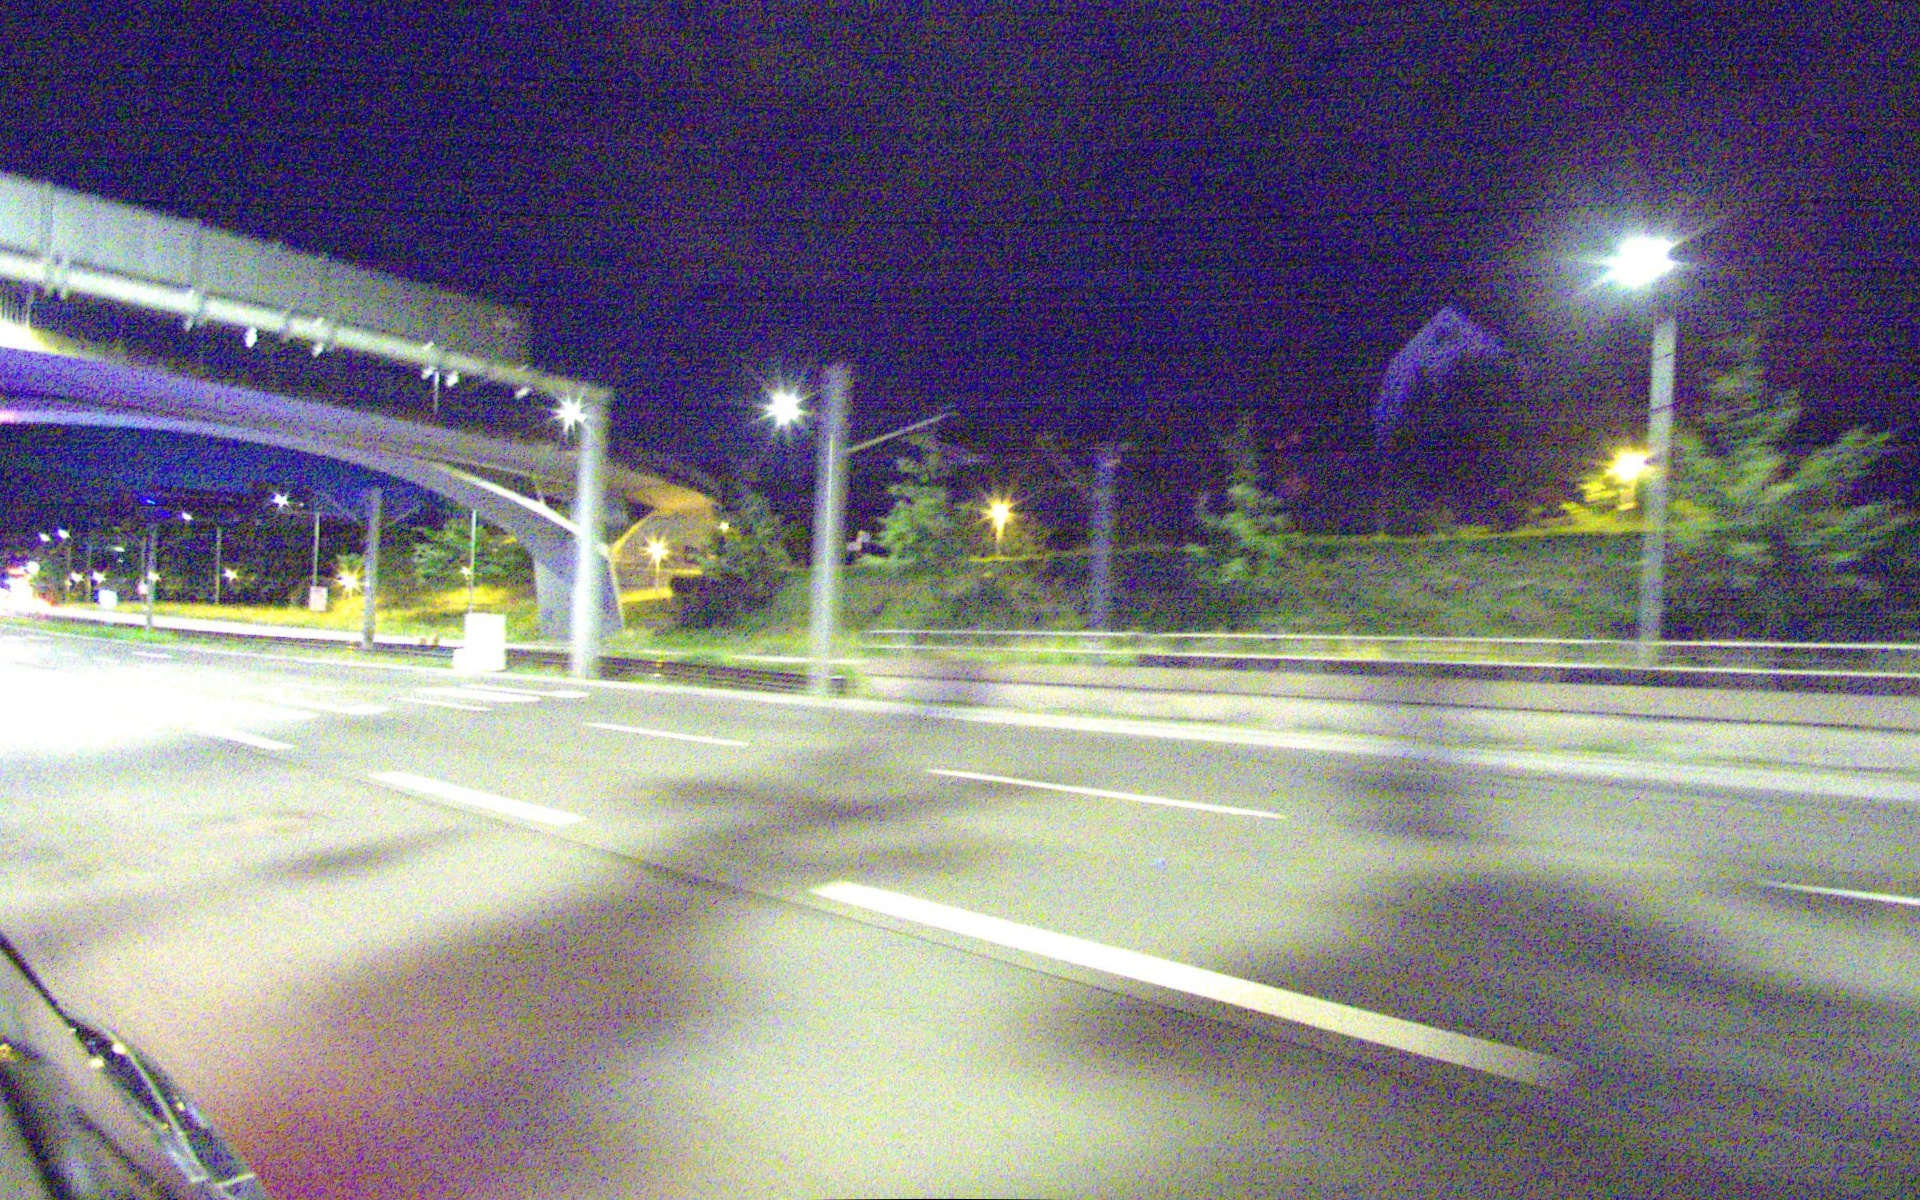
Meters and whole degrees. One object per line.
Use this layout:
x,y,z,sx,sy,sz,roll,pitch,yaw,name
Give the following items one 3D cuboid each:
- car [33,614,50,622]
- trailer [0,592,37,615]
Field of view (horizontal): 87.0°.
-179.102,3.531,197.283,4.202,1.492,1.965,0,-3,41,car
-170.362,0.617,182.815,8.379,4.019,3.663,1,0,36,trailer
